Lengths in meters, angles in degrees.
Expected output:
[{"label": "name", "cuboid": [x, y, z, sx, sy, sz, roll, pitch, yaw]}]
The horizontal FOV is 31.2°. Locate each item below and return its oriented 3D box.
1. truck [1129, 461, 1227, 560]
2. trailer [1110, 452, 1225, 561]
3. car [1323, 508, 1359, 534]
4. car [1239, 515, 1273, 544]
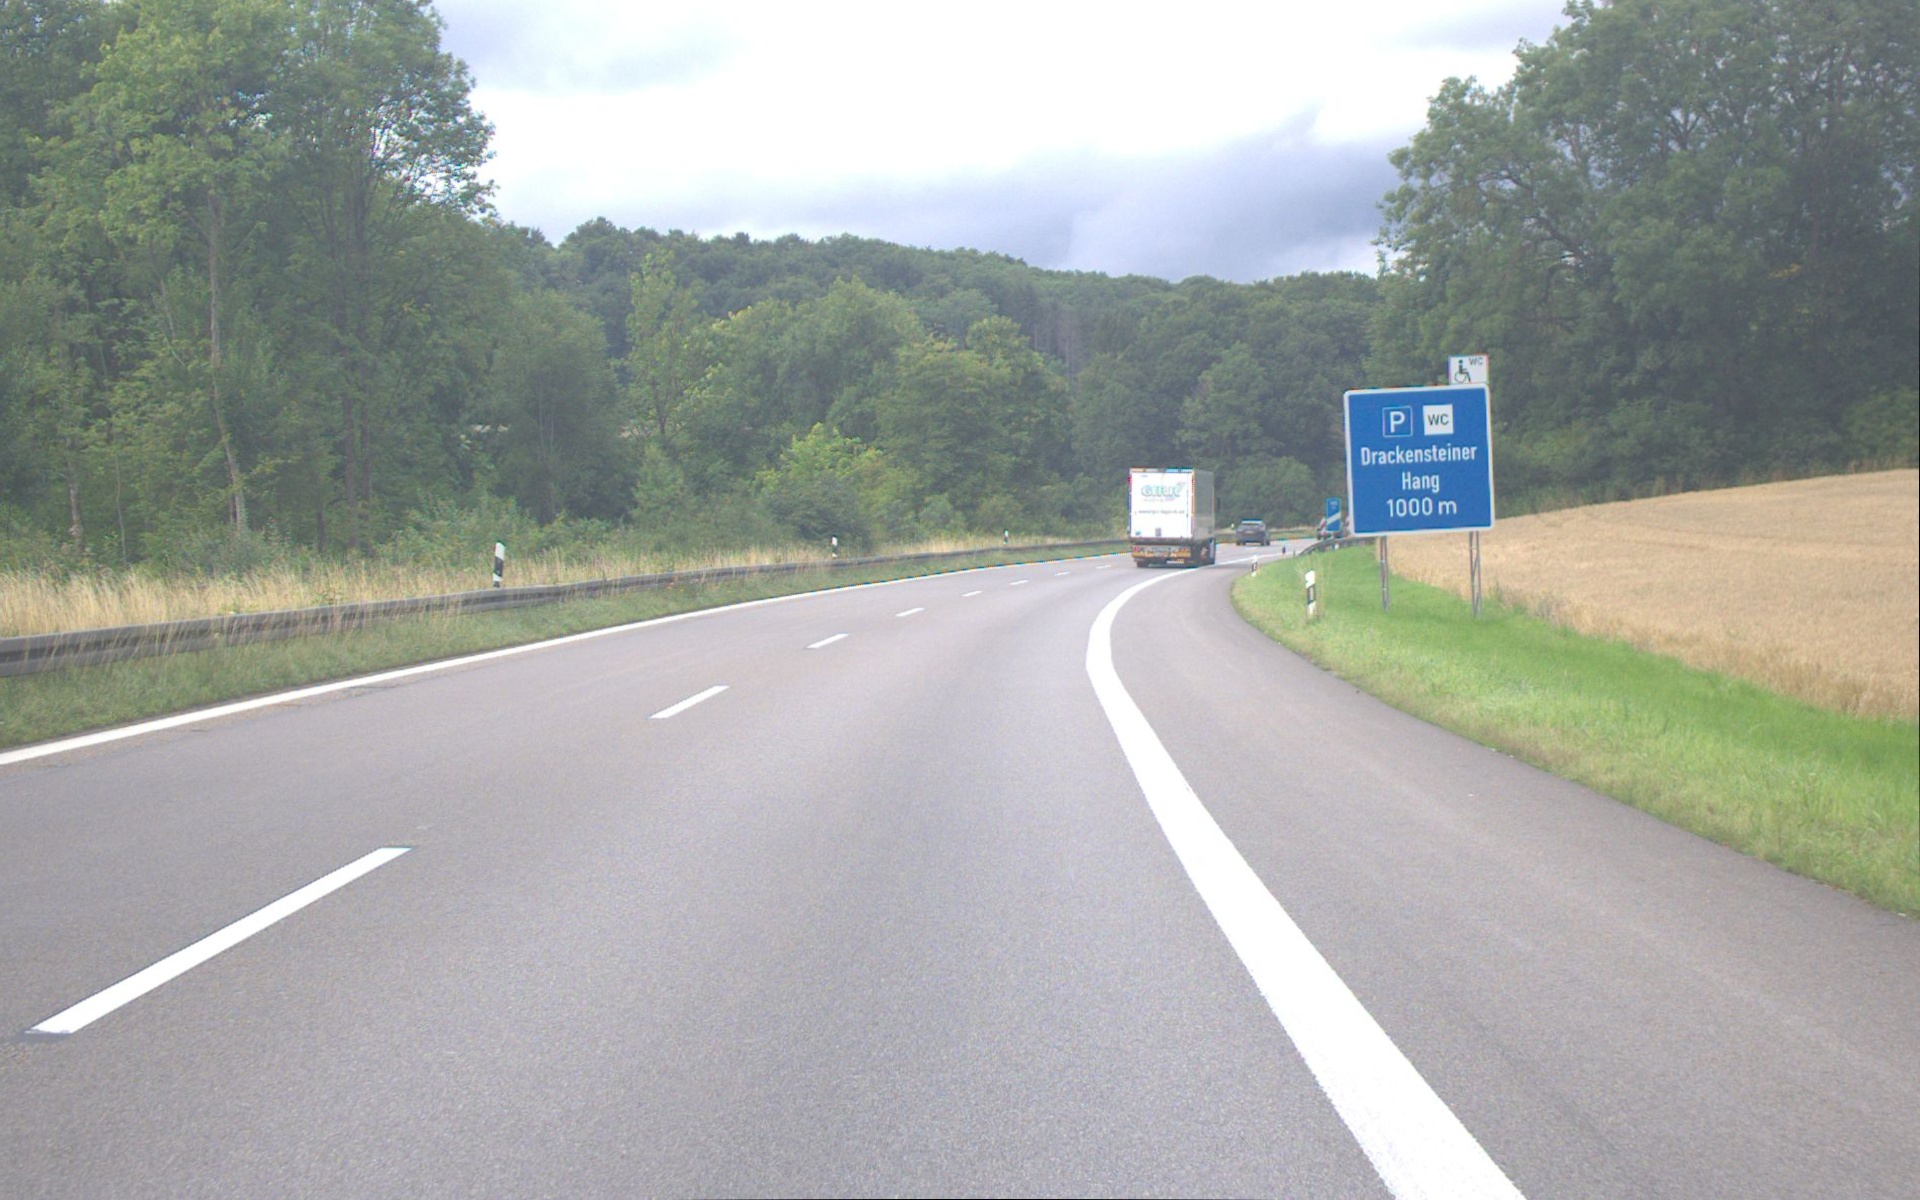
[{"label": "truck", "cuboid": [9.539, -3.827, 149.344, 3.788, 4.118, 8.262, 1, 1, 7]}, {"label": "trailer", "cuboid": [8.710, -3.766, 142.488, 3.807, 4.160, 14.804, 1, 1, 7]}, {"label": "car", "cuboid": [23.222, -4.804, 209.568, 1.994, 1.543, 3.999, -1, 1, 9]}, {"label": "car", "cuboid": [19.118, -4.534, 221.988, 1.903, 1.789, 3.999, 1, 1, 8]}]
